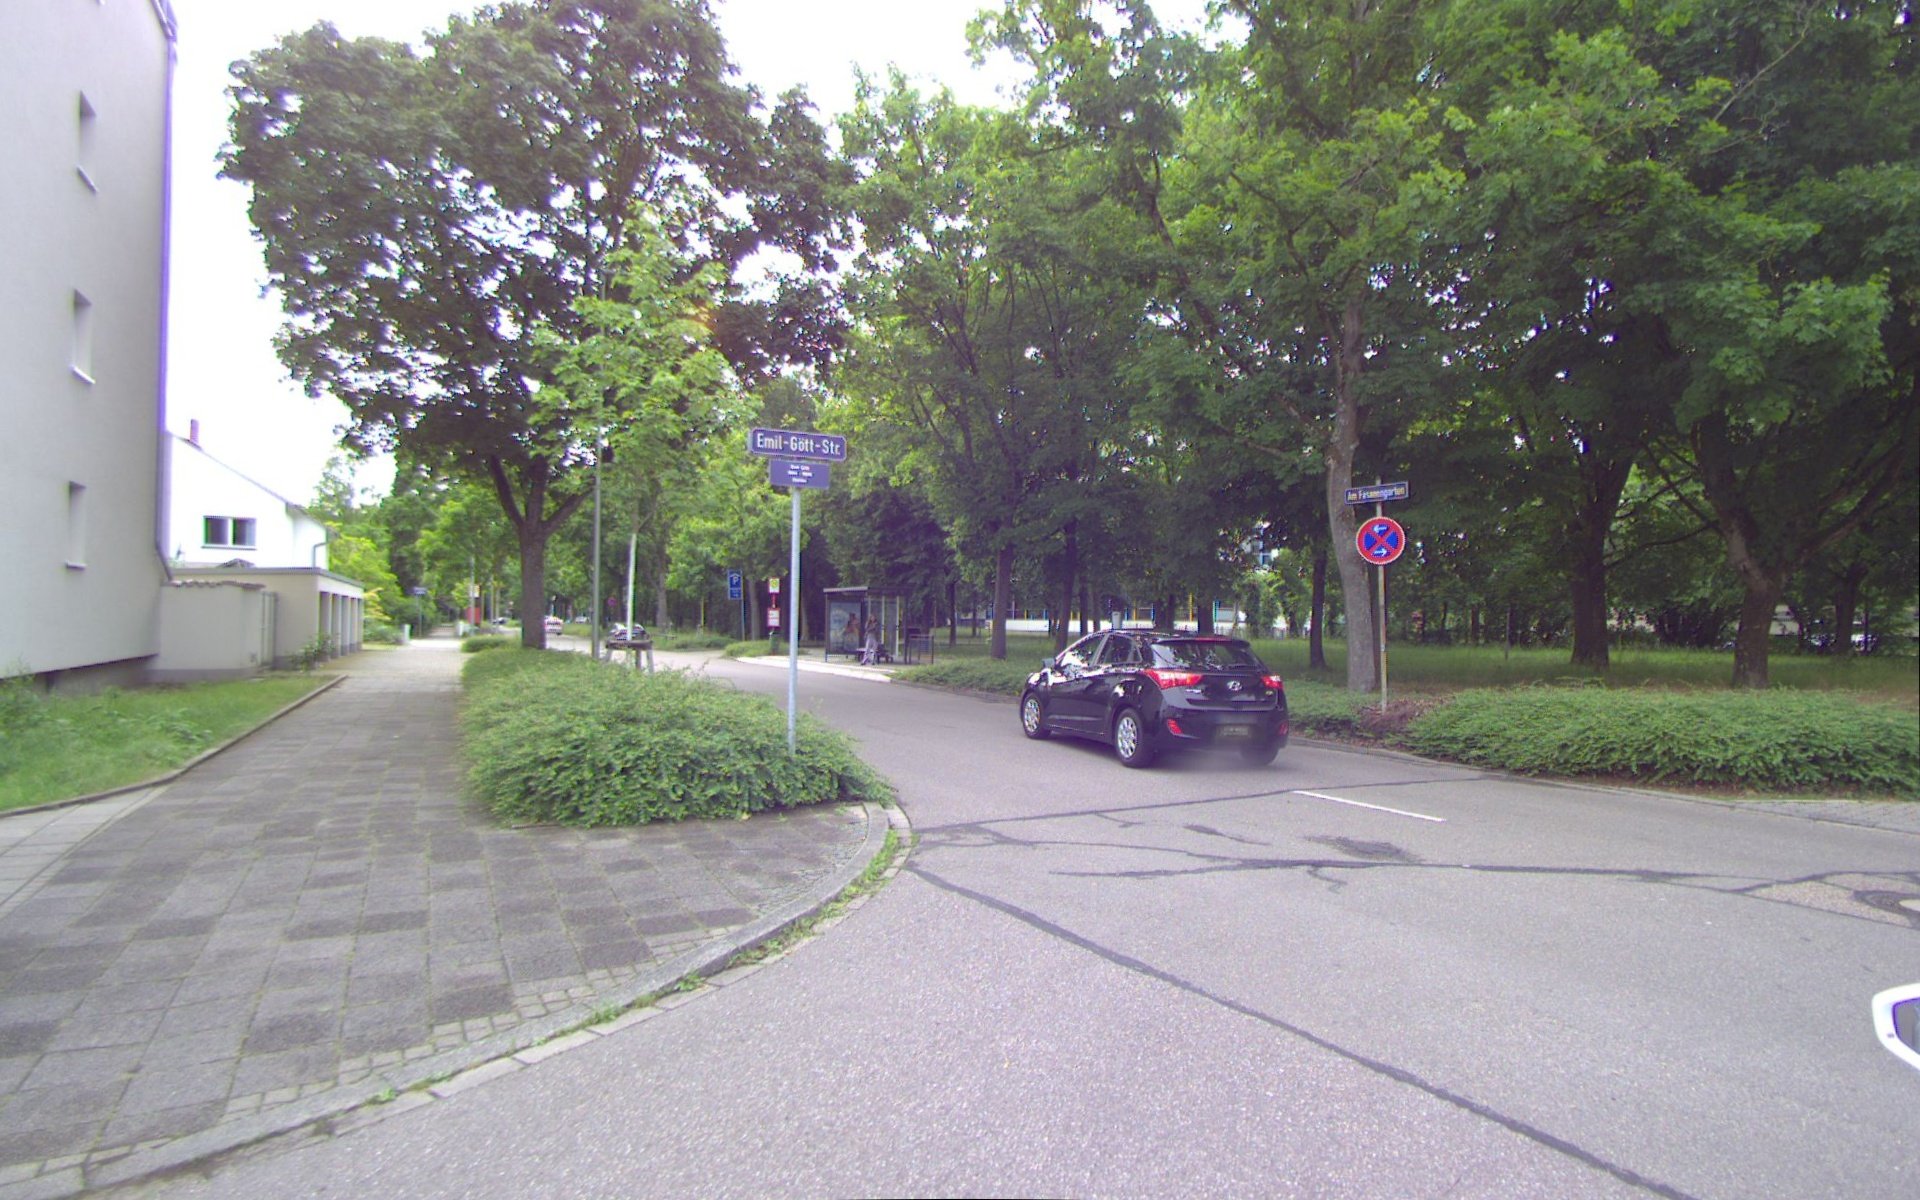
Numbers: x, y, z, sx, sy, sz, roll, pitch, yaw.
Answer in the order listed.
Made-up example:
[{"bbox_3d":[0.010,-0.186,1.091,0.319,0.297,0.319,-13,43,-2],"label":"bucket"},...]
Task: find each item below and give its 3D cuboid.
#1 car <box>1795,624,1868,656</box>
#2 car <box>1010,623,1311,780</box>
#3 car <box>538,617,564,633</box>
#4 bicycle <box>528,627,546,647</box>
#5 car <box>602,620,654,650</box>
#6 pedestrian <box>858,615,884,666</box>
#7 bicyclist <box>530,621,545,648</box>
[{"bbox_3d":[46.228,2.126,53.273,3.957,1.639,1.907,2,-1,-33],"label":"car"},{"bbox_3d":[2.151,1.056,11.887,1.823,1.482,3.811,2,-1,-19],"label":"car"},{"bbox_3d":[-38.965,2.390,95.684,1.882,1.506,3.970,1,-1,-29],"label":"car"},{"bbox_3d":[-24.332,2.116,57.792,0.786,1.039,2.547,0,-1,-26],"label":"bicycle"},{"bbox_3d":[-17.585,1.830,53.148,1.848,1.482,4.084,1,-1,-30],"label":"car"},{"bbox_3d":[-2.856,1.279,32.198,0.647,1.604,0.693,0,-1,-27],"label":"pedestrian"},{"bbox_3d":[-24.318,1.979,57.815,0.776,1.489,0.931,0,-1,-27],"label":"bicyclist"}]
